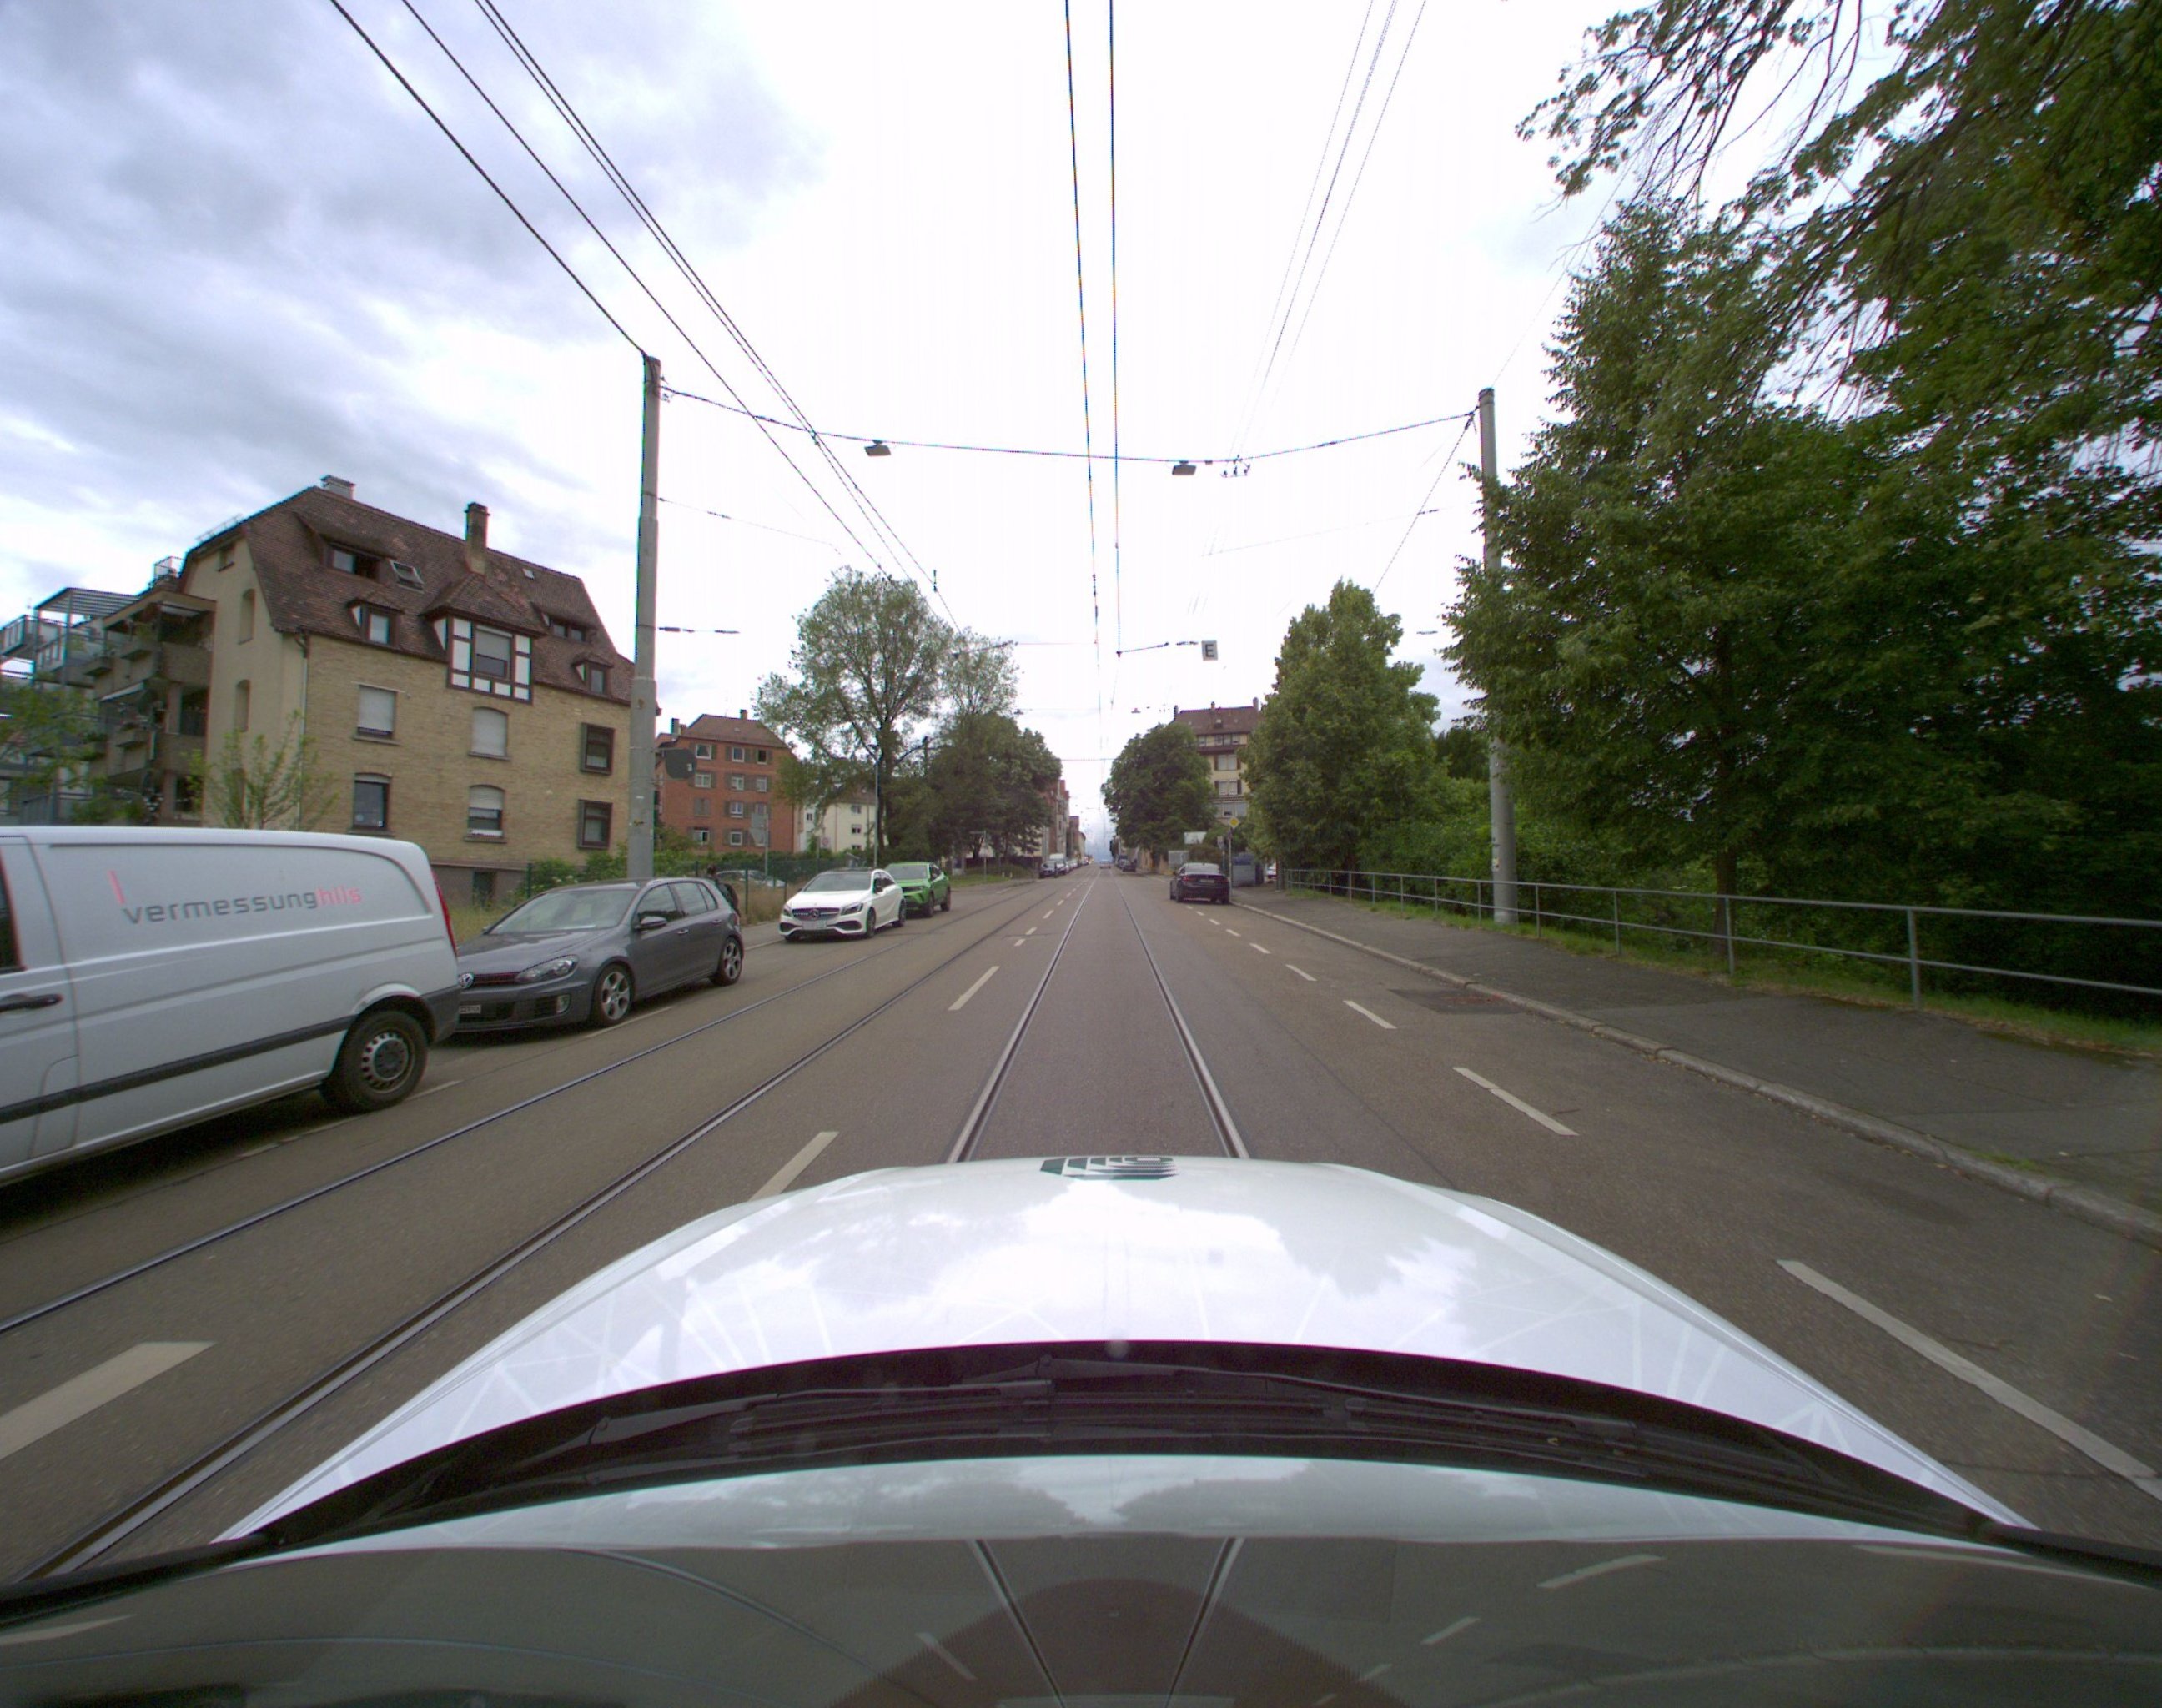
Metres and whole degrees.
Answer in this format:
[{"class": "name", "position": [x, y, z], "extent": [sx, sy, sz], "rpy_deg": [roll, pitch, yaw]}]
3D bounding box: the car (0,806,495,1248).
[{"class": "car", "position": [-5.641, 0.795, 3.900], "extent": [2.029, 1.881, 4.884], "rpy_deg": [-3, -1, 0]}]

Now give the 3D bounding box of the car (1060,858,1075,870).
[{"class": "car", "position": [-2.121, 1.560, 125.438], "extent": [1.985, 1.812, 4.315], "rpy_deg": [0, -1, 3]}]

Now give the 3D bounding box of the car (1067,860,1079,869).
[{"class": "car", "position": [-1.448, 1.865, 142.534], "extent": [1.917, 1.601, 4.001], "rpy_deg": [0, -1, 2]}]

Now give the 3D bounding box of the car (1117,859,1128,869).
[{"class": "car", "position": [7.427, 1.844, 146.241], "extent": [1.986, 1.651, 4.002], "rpy_deg": [-1, -1, 2]}]

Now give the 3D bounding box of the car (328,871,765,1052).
[{"class": "car", "position": [-5.525, 0.985, 9.331], "extent": [1.889, 1.433, 4.512], "rpy_deg": [-2, 0, 1]}]

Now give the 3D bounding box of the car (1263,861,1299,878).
[{"class": "car", "position": [18.227, 1.395, 73.951], "extent": [1.974, 1.479, 4.491], "rpy_deg": [-1, -1, 30]}]

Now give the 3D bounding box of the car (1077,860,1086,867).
[{"class": "car", "position": [0.097, 2.169, 182.050], "extent": [1.986, 1.601, 4.001], "rpy_deg": [0, -1, 1]}]

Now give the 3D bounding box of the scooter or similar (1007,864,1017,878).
[{"class": "scooter or similar", "position": [-6.694, 1.664, 79.237], "extent": [0.688, 1.339, 1.640], "rpy_deg": [0, -1, 3]}]

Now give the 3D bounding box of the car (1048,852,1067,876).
[{"class": "car", "position": [-2.829, 1.244, 98.709], "extent": [2.224, 2.764, 5.797], "rpy_deg": [0, -1, 0]}]

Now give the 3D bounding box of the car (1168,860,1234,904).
[{"class": "car", "position": [4.325, 0.985, 30.027], "extent": [1.821, 1.430, 4.848], "rpy_deg": [1, -1, 1]}]

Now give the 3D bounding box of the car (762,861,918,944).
[{"class": "car", "position": [-5.095, 0.954, 17.958], "extent": [1.878, 1.526, 4.665], "rpy_deg": [-2, -1, 1]}]

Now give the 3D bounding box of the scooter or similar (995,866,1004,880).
[{"class": "scooter or similar", "position": [-7.924, 1.817, 79.566], "extent": [0.688, 1.339, 1.639], "rpy_deg": [0, -1, 2]}]

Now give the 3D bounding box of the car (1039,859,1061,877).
[{"class": "car", "position": [-3.186, 1.435, 84.212], "extent": [1.985, 1.808, 4.003], "rpy_deg": [0, -1, 3]}]

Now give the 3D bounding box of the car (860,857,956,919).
[{"class": "car", "position": [-4.867, 0.920, 23.519], "extent": [1.717, 1.580, 4.182], "rpy_deg": [-2, -1, 2]}]

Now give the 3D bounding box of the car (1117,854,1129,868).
[{"class": "car", "position": [7.804, 1.266, 151.753], "extent": [1.986, 2.574, 4.706], "rpy_deg": [-1, -1, 2]}]

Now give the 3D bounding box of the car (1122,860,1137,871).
[{"class": "car", "position": [6.725, 1.571, 113.080], "extent": [1.985, 1.530, 4.315], "rpy_deg": [0, -1, 3]}]

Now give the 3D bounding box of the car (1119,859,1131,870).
[{"class": "car", "position": [7.215, 1.701, 134.074], "extent": [1.986, 1.717, 4.002], "rpy_deg": [-1, -1, 2]}]

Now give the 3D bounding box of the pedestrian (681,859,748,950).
[{"class": "pedestrian", "position": [-6.737, 0.917, 15.013], "extent": [0.802, 1.629, 0.916], "rpy_deg": [0, -1, -1]}]

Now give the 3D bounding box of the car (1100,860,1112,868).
[{"class": "car", "position": [4.355, 1.749, 142.167], "extent": [1.986, 1.499, 4.313], "rpy_deg": [0, -1, 1]}]

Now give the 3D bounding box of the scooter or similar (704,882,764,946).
[{"class": "scooter or similar", "position": [-6.741, 1.157, 15.868], "extent": [0.802, 1.196, 0.839], "rpy_deg": [0, -1, -1]}]

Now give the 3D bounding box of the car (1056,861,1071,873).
[{"class": "car", "position": [-2.356, 1.802, 109.012], "extent": [1.987, 1.600, 4.310], "rpy_deg": [0, -1, -1]}]
